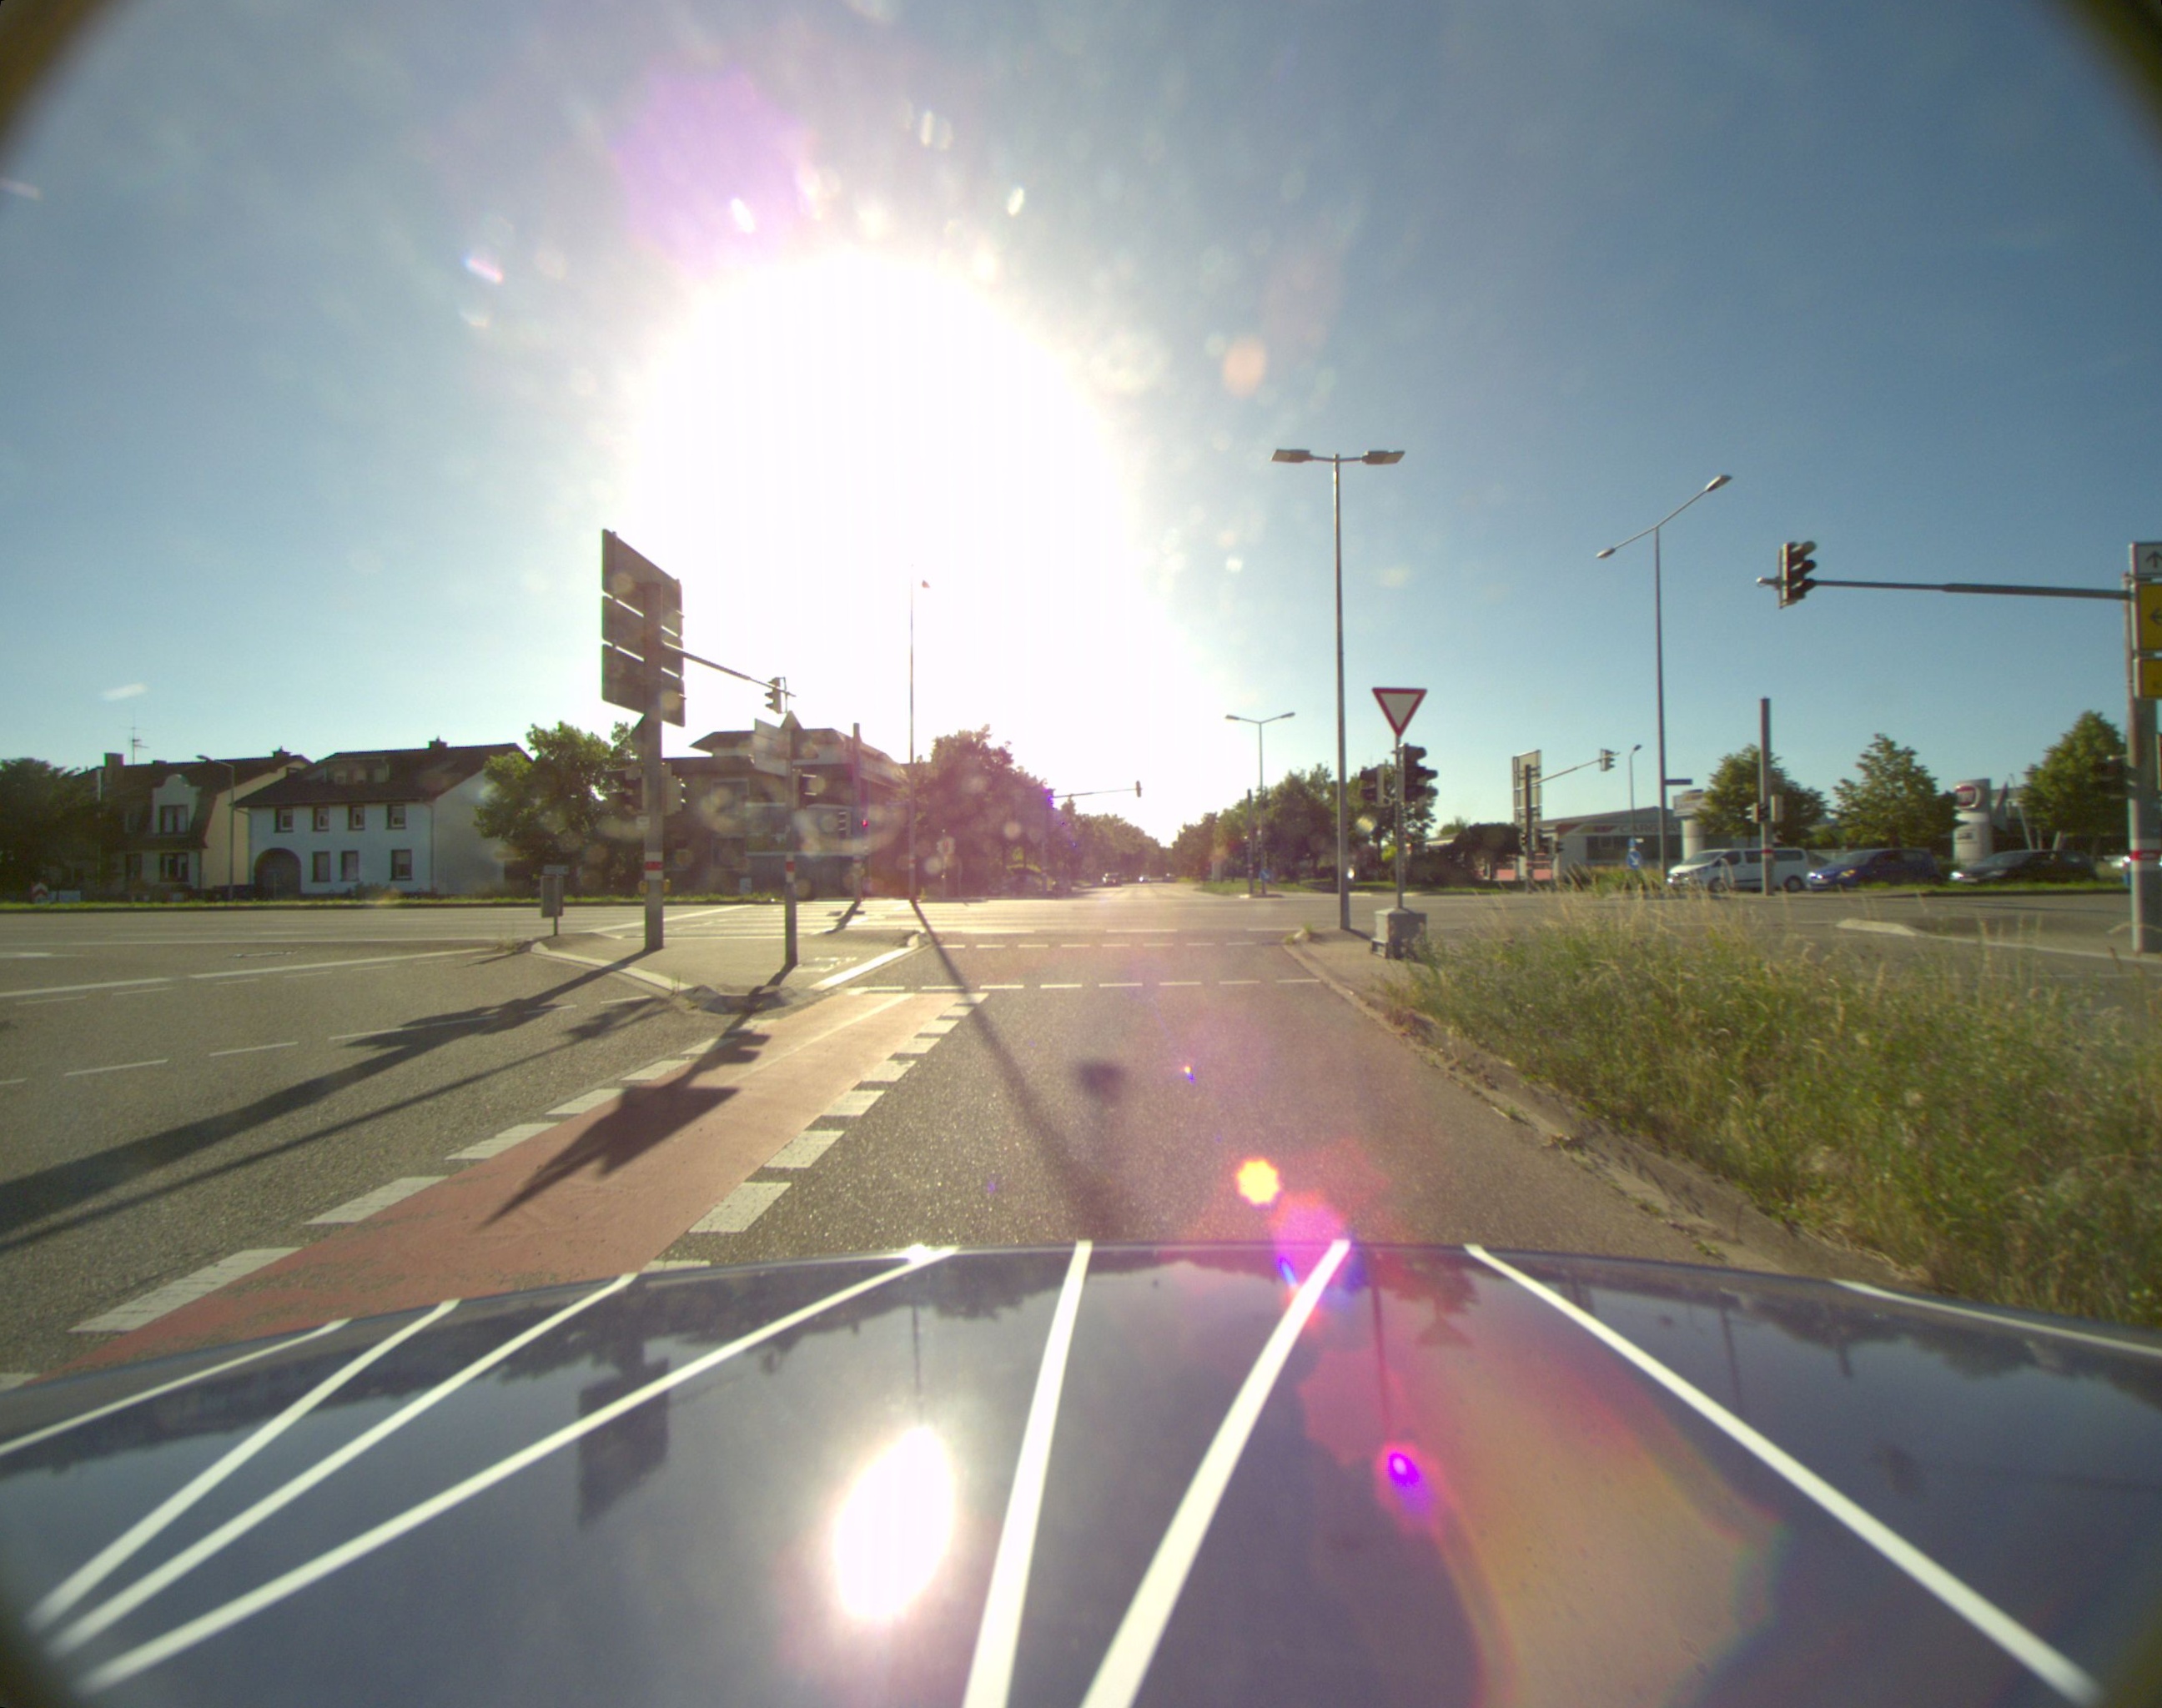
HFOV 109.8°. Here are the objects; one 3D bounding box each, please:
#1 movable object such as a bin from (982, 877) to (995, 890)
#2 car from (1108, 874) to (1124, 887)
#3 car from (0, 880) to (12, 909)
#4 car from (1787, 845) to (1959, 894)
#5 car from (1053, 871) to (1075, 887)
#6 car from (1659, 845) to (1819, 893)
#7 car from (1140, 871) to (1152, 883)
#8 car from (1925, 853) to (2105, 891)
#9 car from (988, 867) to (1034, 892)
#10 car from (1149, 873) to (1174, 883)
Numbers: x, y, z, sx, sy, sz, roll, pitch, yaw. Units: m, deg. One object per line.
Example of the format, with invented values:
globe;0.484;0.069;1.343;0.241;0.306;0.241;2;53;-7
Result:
movable object such as a bin;-9.497;3.013;77.924;1.089;1.314;0.797;-1;-1;5
car;4.441;3.347;96.661;1.776;1.477;4.218;0;-1;5
car;-62.437;2.287;41.917;3.997;1.608;2.000;-1;-1;0
car;27.733;0.563;26.712;4.037;1.633;1.894;-1;-3;-1
car;-1.669;2.504;76.719;1.776;1.477;4.218;0;-1;5
car;28.984;0.692;33.569;5.272;2.001;2.048;-1;-2;-1
car;11.056;3.895;128.653;1.729;2.002;4.000;0;0;1
car;33.009;0.672;26.938;4.037;1.266;1.894;-1;-3;-1
car;-4.415;1.599;48.250;1.775;1.477;3.784;-2;-1;13
car;14.924;4.456;140.273;4.487;1.695;2.002;-1;-1;10
